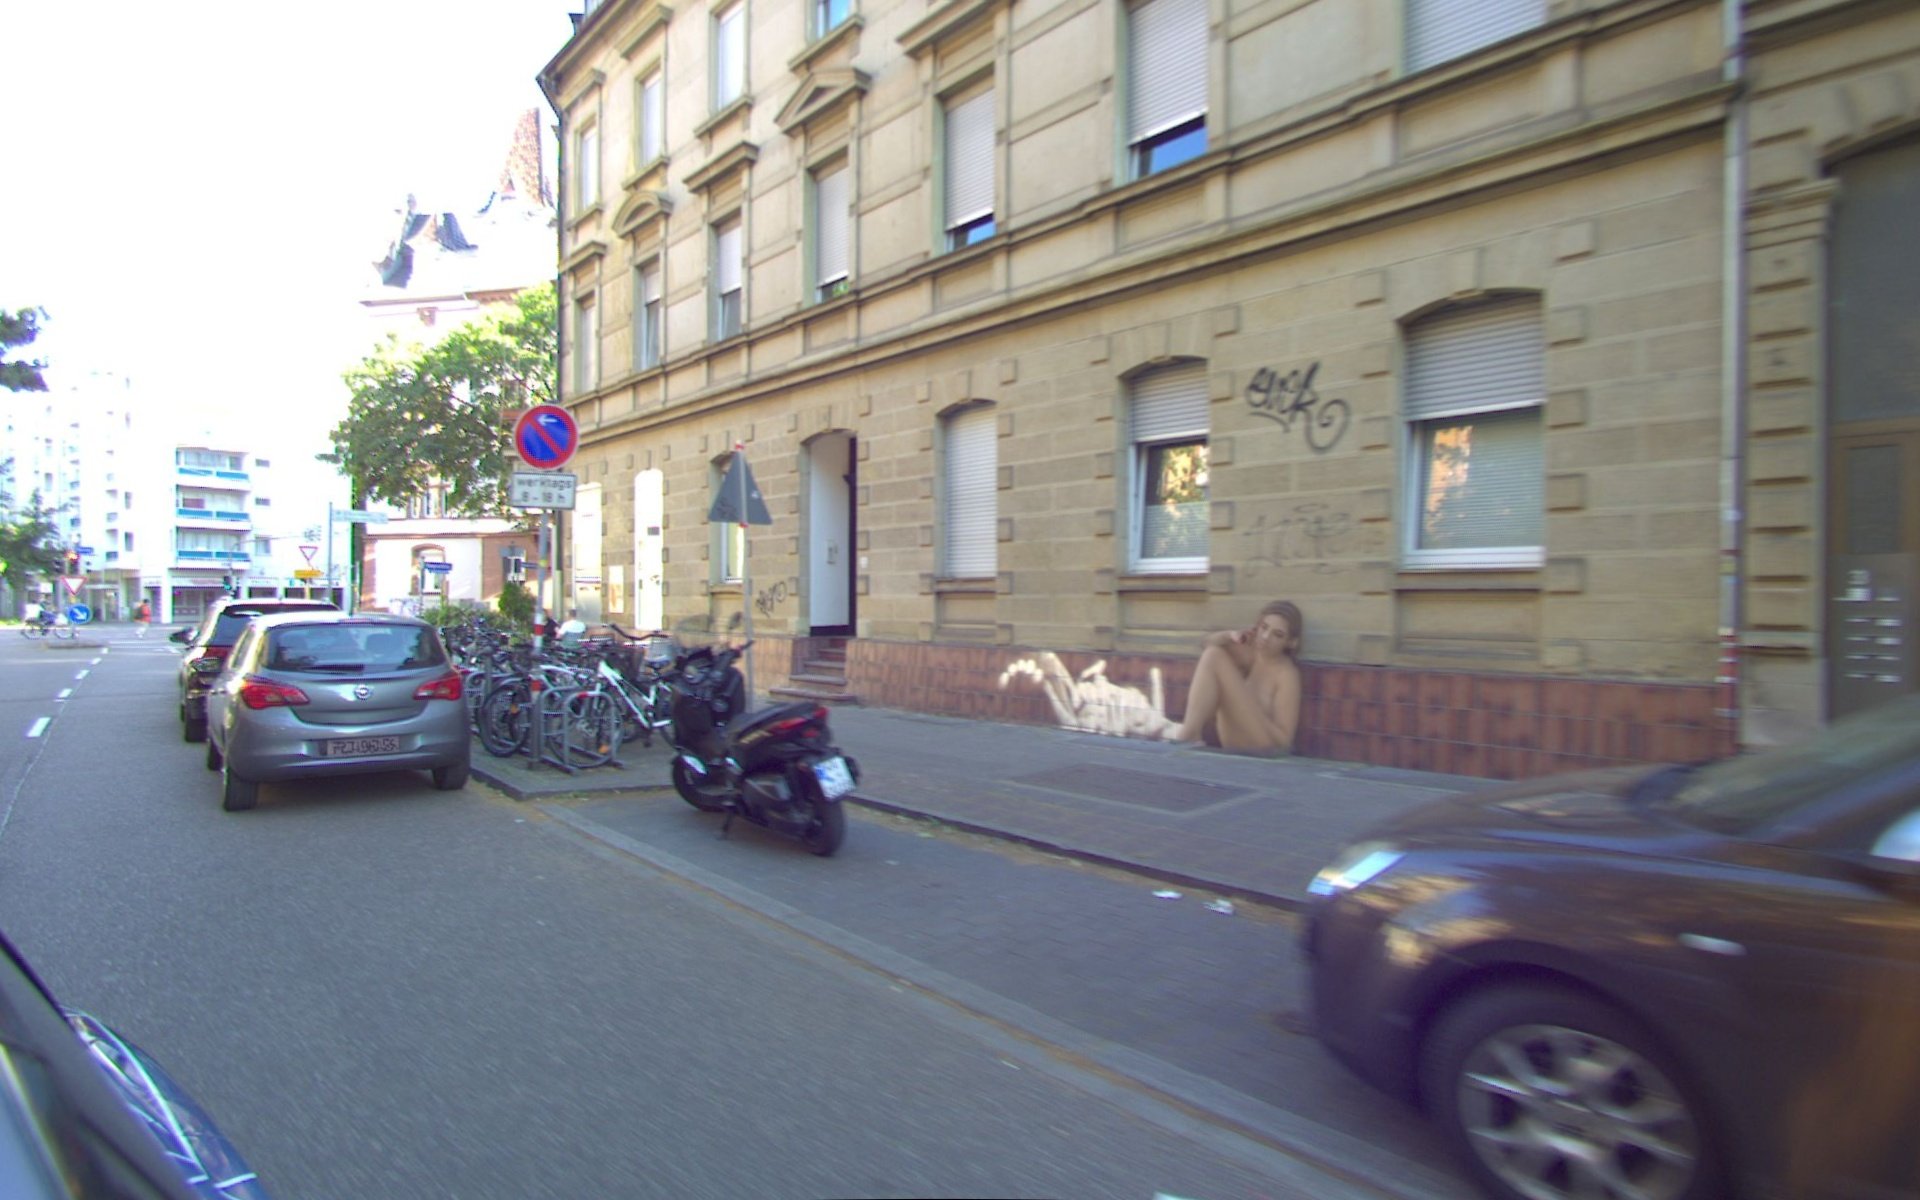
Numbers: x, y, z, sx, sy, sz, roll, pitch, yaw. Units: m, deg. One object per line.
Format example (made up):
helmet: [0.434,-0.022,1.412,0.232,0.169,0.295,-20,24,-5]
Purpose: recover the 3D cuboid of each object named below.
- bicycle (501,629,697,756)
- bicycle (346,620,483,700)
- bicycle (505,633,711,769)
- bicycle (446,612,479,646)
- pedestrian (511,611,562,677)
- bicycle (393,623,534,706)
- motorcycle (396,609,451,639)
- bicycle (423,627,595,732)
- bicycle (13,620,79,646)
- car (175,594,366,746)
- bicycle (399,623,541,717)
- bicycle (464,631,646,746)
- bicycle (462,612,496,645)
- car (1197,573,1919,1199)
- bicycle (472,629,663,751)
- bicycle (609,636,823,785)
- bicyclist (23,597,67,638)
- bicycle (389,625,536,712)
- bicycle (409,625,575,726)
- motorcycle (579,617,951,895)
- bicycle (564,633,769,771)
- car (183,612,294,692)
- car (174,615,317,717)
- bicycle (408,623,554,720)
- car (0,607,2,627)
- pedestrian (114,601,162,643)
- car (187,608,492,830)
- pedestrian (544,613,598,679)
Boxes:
bicycle: [-3.699,0.909,10.484,1.845,1.137,0.529,-1,1,-42]
bicycle: [-8.698,0.929,16.179,1.844,1.137,0.529,-1,1,-40]
bicycle: [-3.417,0.942,9.951,1.845,1.137,0.529,-1,1,-42]
bicycle: [-18.725,1.071,38.036,0.539,1.205,2.965,0,-1,-38]
pedestrian: [-8.492,0.867,20.300,0.717,1.268,0.757,0,-1,-44]
bicycle: [-7.557,0.954,15.450,1.844,1.137,0.529,-1,1,-40]
motorcycle: [-23.840,1.041,45.005,0.837,1.275,2.094,0,0,23]
bicycle: [-5.530,0.942,12.489,1.845,1.137,0.529,-1,1,-42]
bicycle: [-36.024,1.278,39.903,0.629,0.919,1.868,-2,1,18]
car: [-9.046,0.791,13.110,1.736,1.612,4.559,1,-2,-38]
bicycle: [-6.749,0.926,14.047,0.525,1.137,1.858,-1,1,25]
bicycle: [-4.581,0.960,11.542,1.845,1.137,0.529,-1,1,-42]
bicycle: [-18.268,1.055,38.403,0.539,1.205,2.965,0,-1,-38]
car: [2.725,0.688,2.086,1.737,1.512,4.064,-2,0,-43]
bicycle: [-4.213,0.928,10.966,1.845,1.137,0.529,-1,1,-42]
bicycle: [-2.171,0.947,9.184,1.845,1.137,0.529,-1,1,-42]
bicyclist: [-36.051,0.690,39.873,0.629,1.565,1.075,-2,1,18]
bicycle: [-7.258,0.966,14.814,1.844,1.137,0.529,-1,1,-40]
bicycle: [-5.961,0.930,12.971,1.845,1.137,0.529,-1,1,-42]
motorcycle: [-1.339,0.808,6.411,1.053,1.380,2.608,0,-1,-44]
bicycle: [-2.793,0.931,9.788,1.845,1.137,0.529,-1,1,-42]
car: [-15.190,1.017,21.268,1.735,1.499,4.148,1,-1,-37]
car: [-12.148,1.007,17.170,1.735,1.463,4.560,1,-1,-37]
bicycle: [-6.367,0.916,13.570,0.525,1.137,1.858,-1,1,25]
car: [-77.846,1.331,79.063,1.990,1.597,3.963,0,0,27]
pedestrian: [-33.377,0.891,41.107,0.999,1.692,1.166,0,-1,18]
car: [-5.694,0.858,9.045,1.736,1.512,4.066,1,-2,-40]
pedestrian: [-7.483,0.872,19.469,0.717,1.223,0.757,0,-1,-44]
